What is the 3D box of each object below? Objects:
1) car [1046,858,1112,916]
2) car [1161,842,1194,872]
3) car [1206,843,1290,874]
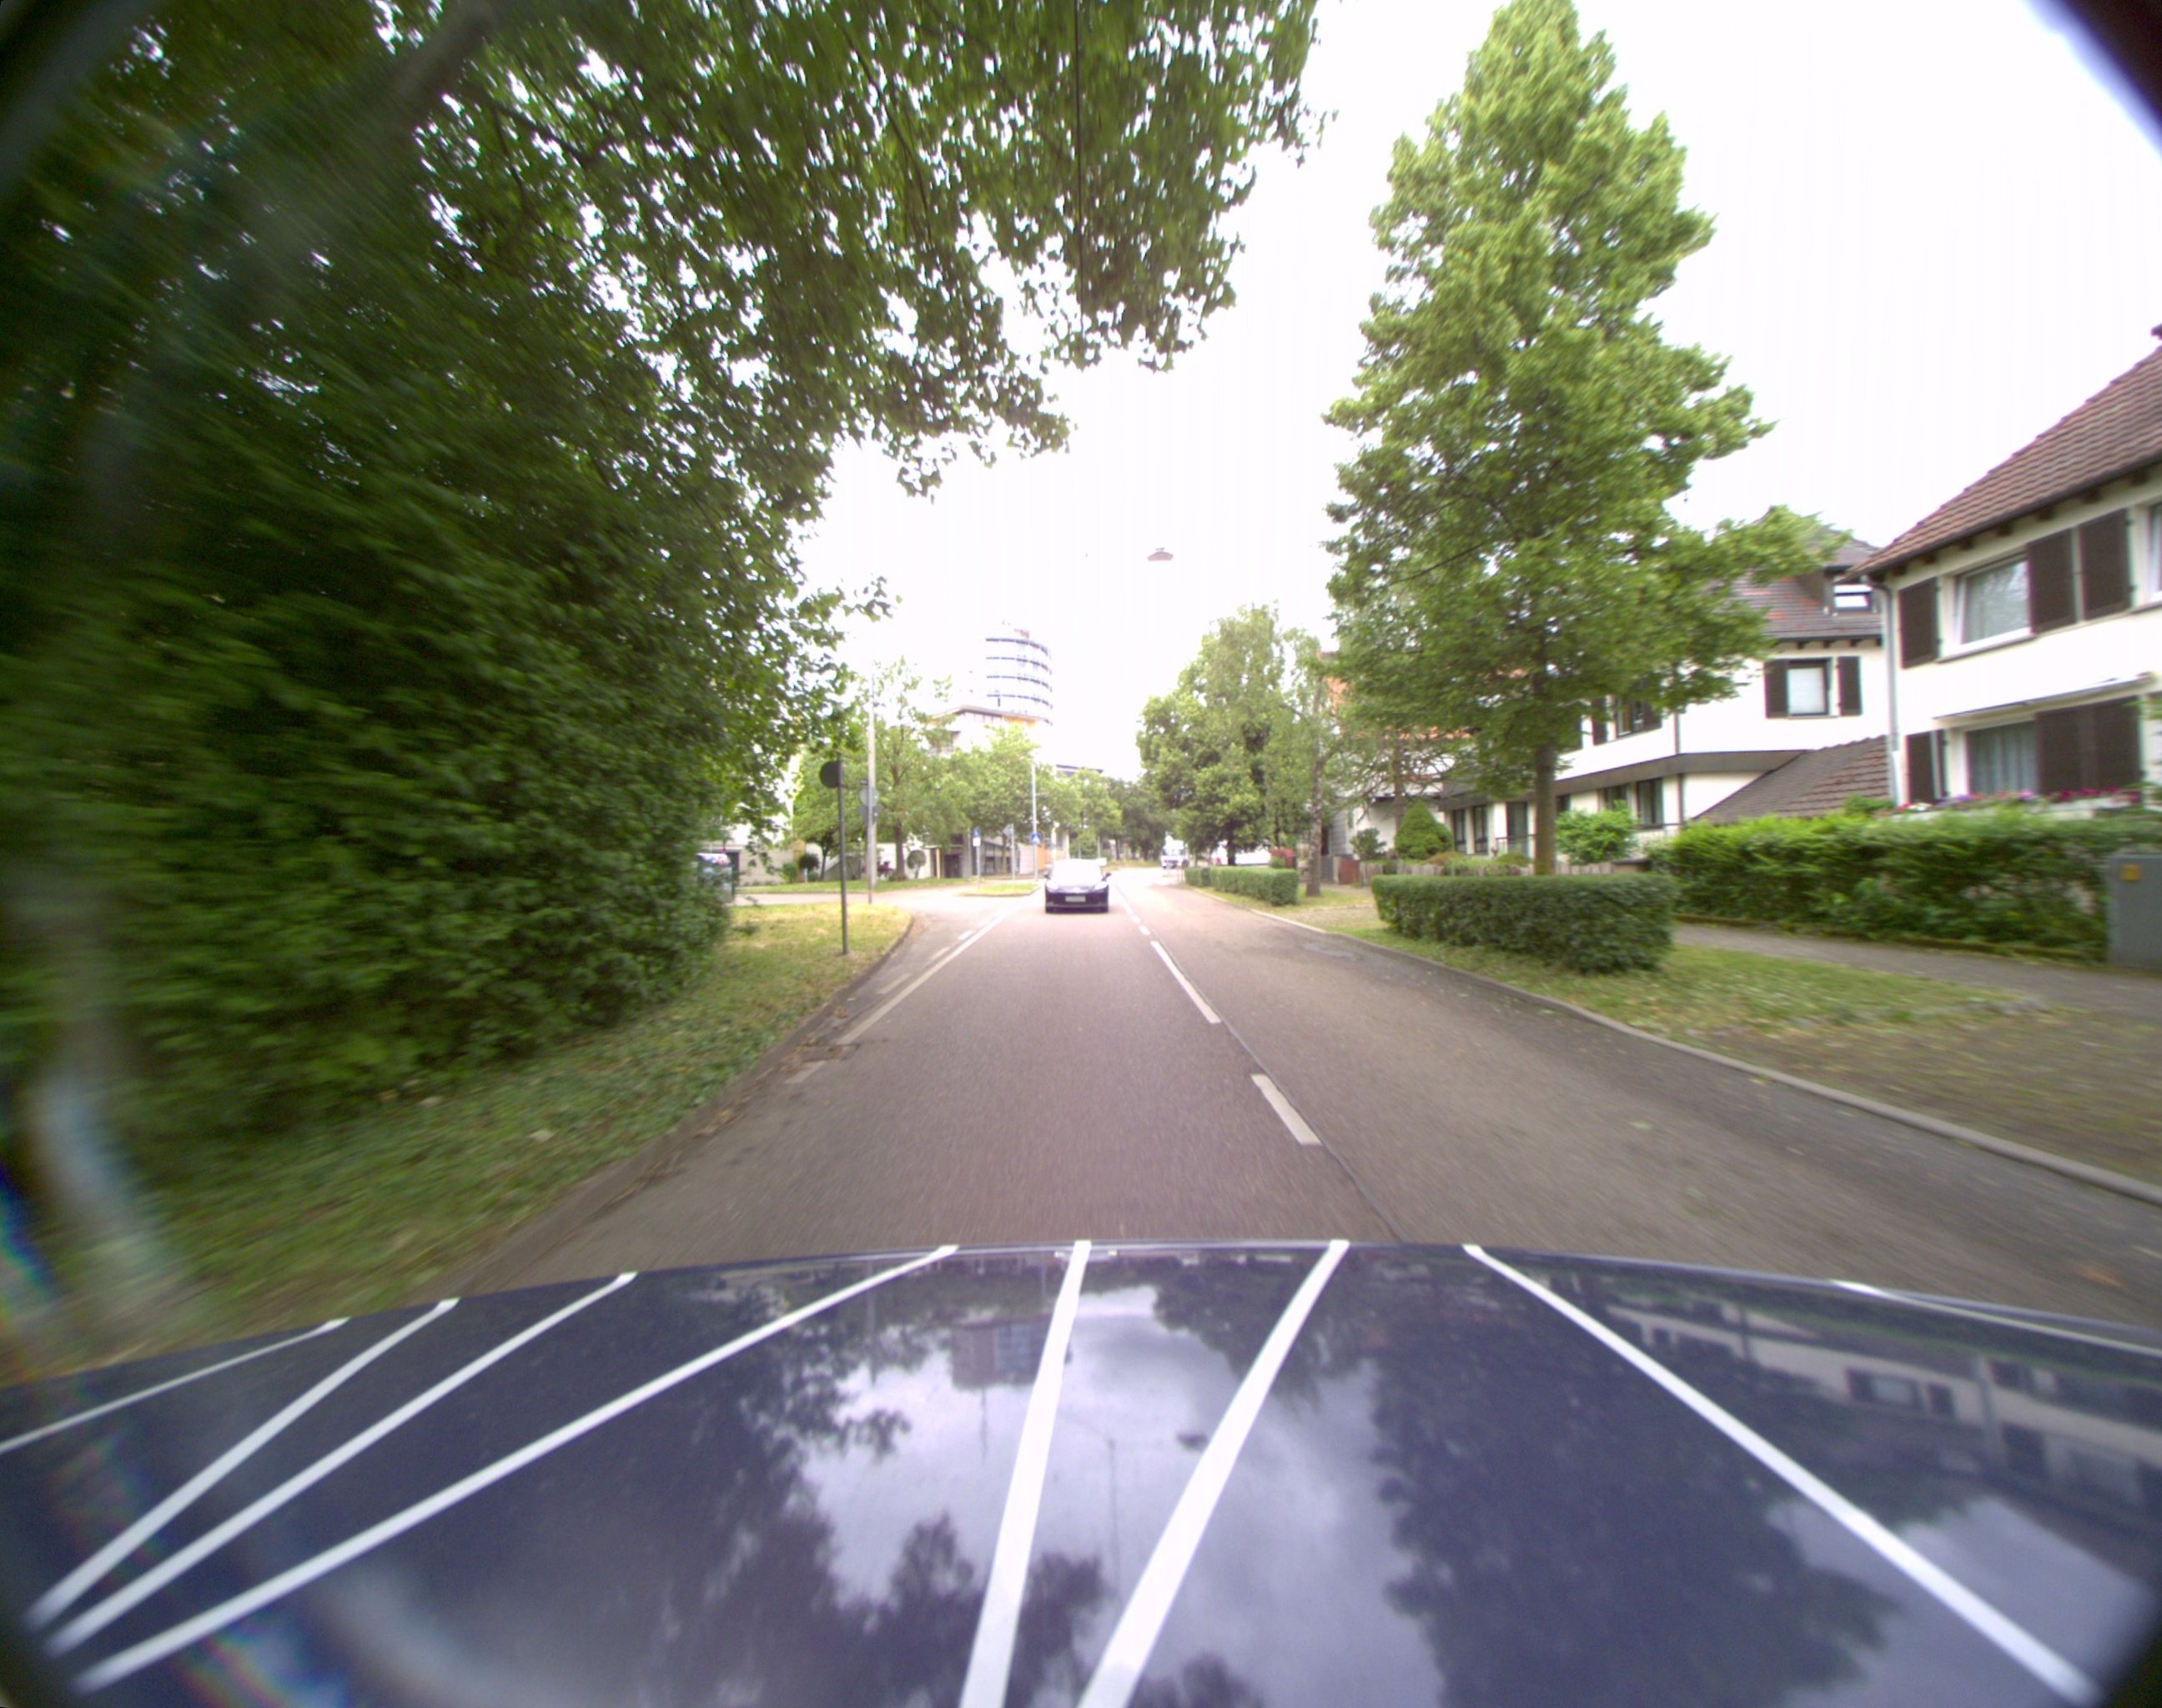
[{"bbox_3d":[-0.001,0.909,22.982,1.798,1.552,4.471,-1,0,1],"label":"car"},{"bbox_3d":[11.262,0.269,87.844,2.432,3.256,7.800,-1,1,17],"label":"car"},{"bbox_3d":[13.300,0.329,60.400,6.376,2.334,1.973,-1,0,-20],"label":"car"}]
